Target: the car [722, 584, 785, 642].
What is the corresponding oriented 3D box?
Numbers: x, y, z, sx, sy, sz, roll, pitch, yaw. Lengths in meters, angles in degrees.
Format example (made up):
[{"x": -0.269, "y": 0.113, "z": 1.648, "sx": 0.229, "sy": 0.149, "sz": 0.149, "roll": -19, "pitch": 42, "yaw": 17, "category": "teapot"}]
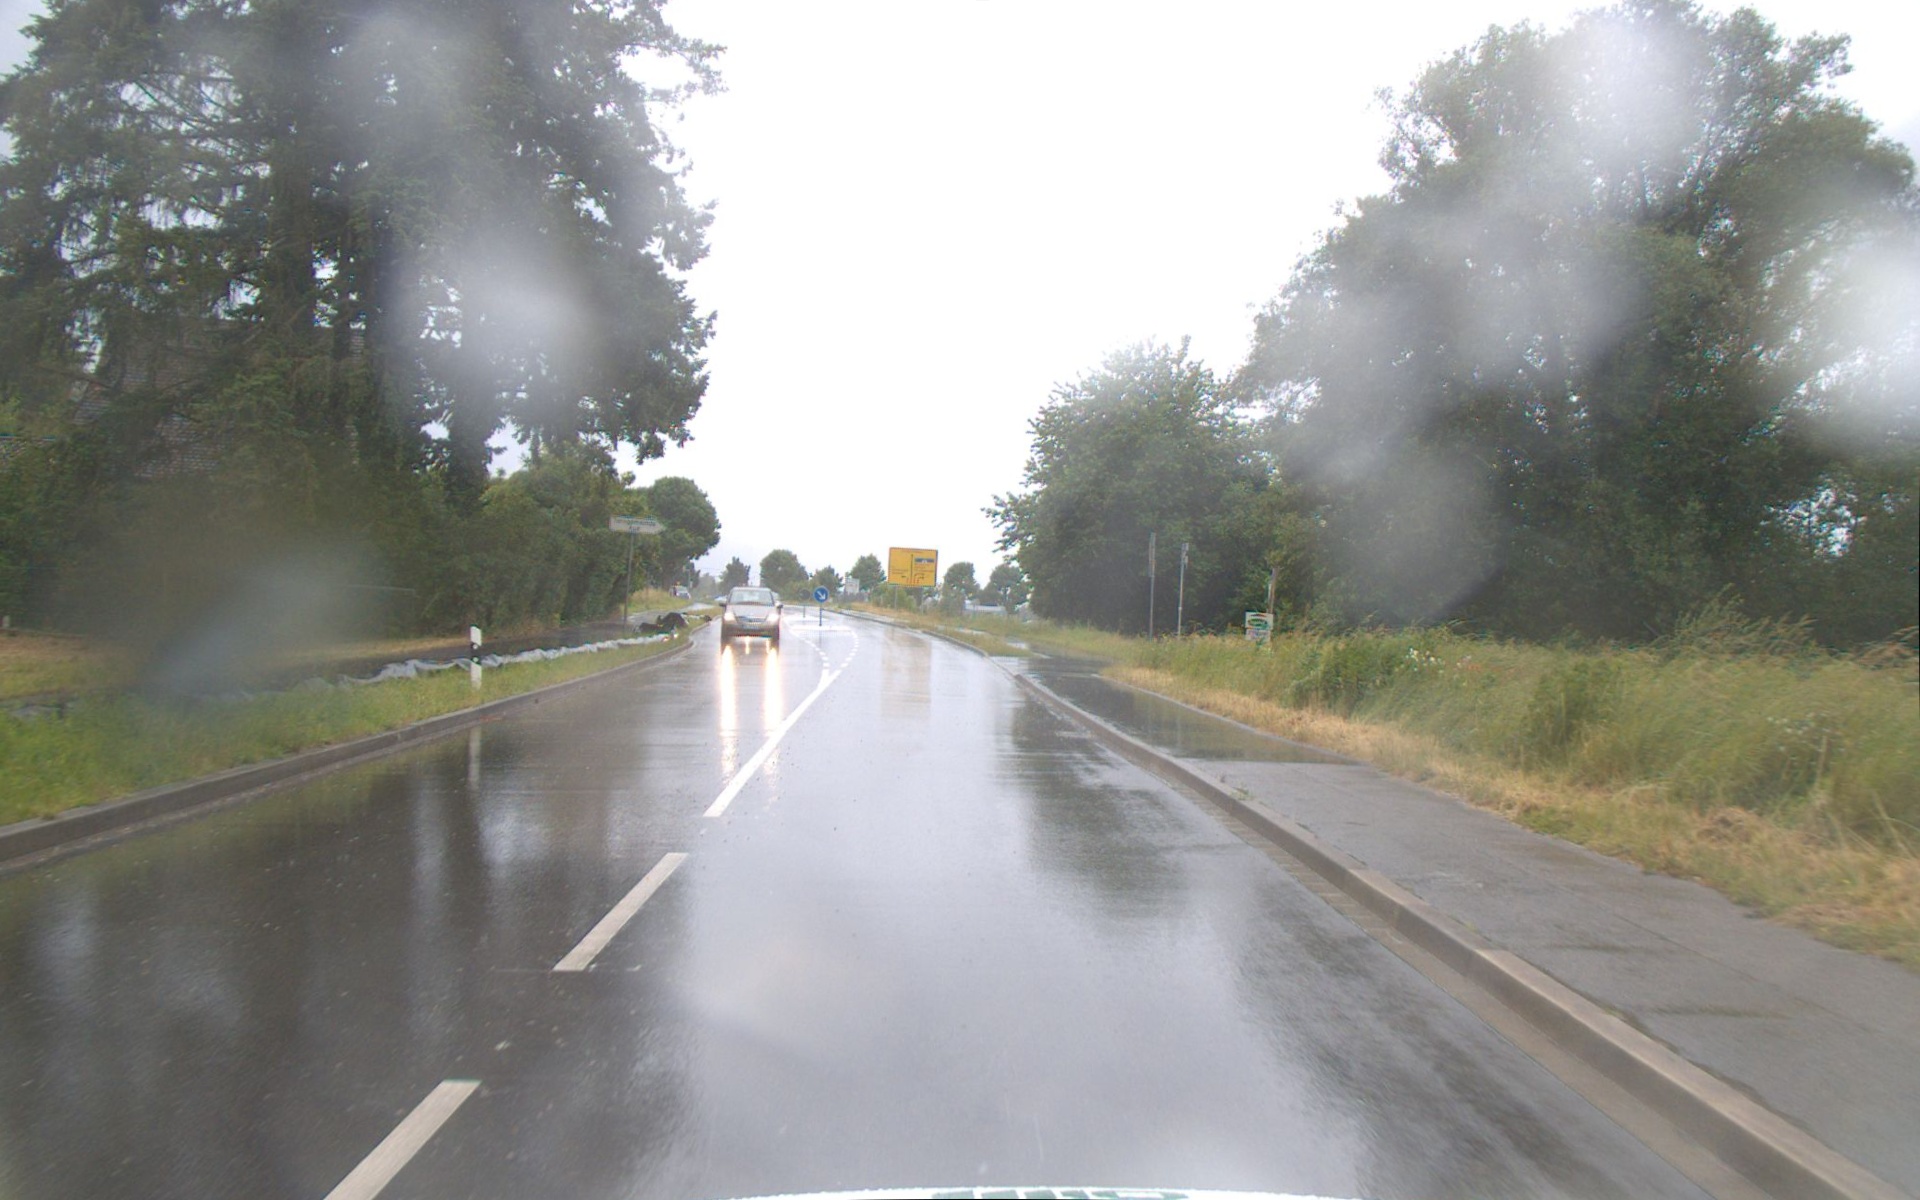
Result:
[{"x": -6.265, "y": 0.411, "z": 50.473, "sx": 1.727, "sy": 1.579, "sz": 3.994, "roll": 4, "pitch": -1, "yaw": -6, "category": "car"}]
